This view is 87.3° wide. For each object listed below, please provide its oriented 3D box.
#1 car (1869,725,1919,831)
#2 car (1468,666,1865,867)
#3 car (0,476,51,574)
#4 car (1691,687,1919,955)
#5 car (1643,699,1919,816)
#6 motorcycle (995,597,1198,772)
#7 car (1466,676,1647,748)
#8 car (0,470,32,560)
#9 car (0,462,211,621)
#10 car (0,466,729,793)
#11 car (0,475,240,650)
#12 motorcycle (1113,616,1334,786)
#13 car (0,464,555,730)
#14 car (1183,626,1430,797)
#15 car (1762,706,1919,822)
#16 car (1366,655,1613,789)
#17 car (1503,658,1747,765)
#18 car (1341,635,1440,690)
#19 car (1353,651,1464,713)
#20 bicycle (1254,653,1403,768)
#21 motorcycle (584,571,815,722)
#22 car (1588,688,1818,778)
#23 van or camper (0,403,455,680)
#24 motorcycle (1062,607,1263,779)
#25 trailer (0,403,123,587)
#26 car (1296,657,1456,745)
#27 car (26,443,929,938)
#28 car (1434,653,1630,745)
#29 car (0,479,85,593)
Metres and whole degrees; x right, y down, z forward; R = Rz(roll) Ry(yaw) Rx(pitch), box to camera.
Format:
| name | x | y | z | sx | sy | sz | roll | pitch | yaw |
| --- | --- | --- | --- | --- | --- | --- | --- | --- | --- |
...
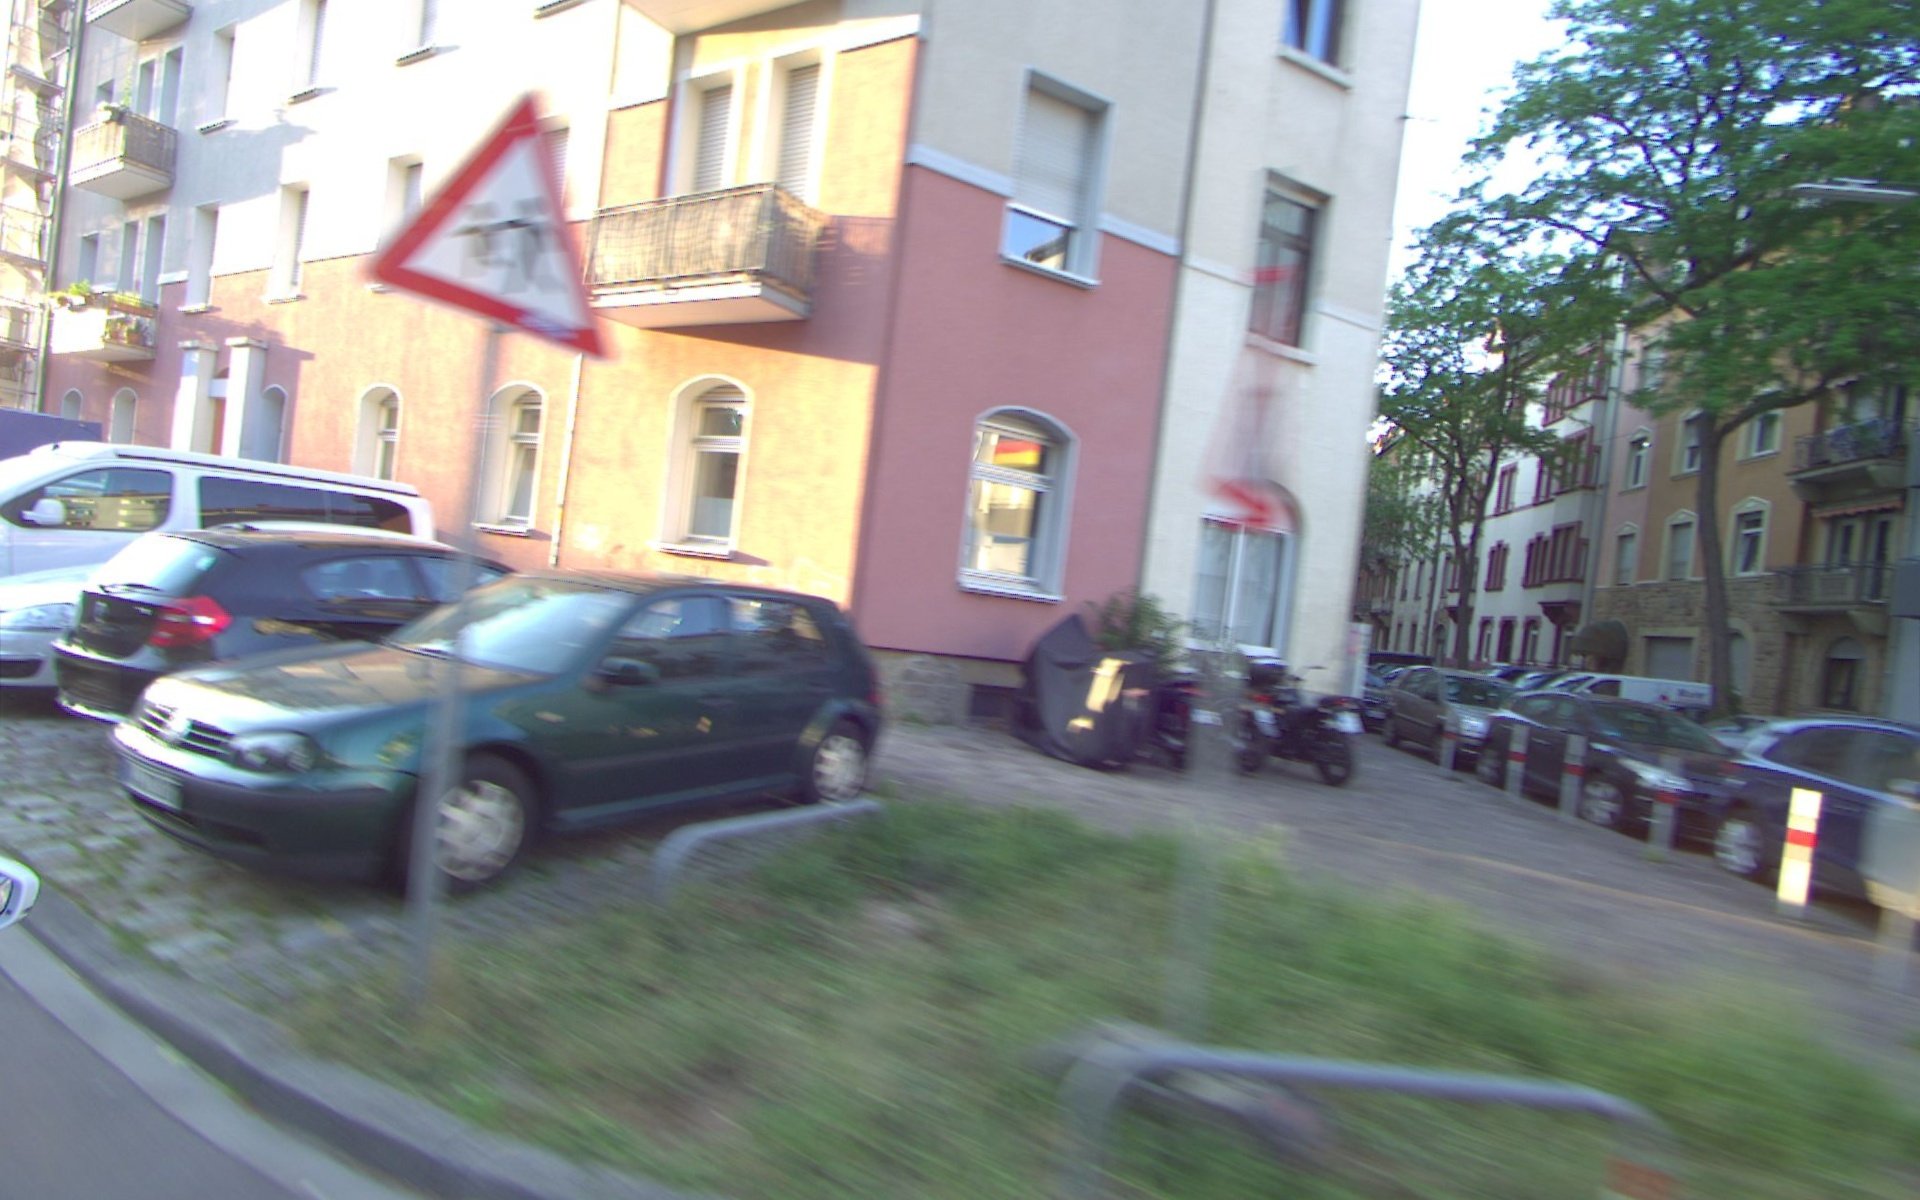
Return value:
| name | x | y | z | sx | sy | sz | roll | pitch | yaw |
| --- | --- | --- | --- | --- | --- | --- | --- | --- | --- |
| car | 16.787 | 3.033 | 15.255 | 3.924 | 1.549 | 2.001 | 7 | 0 | 5 |
| car | 7.904 | 1.754 | 11.841 | 1.933 | 1.524 | 4.001 | 7 | 0 | 5 |
| car | -17.646 | -1.482 | 16.243 | 1.758 | 1.591 | 3.971 | 7 | 0 | 29 |
| car | 7.300 | 1.641 | 7.028 | 1.795 | 1.592 | 4.002 | 7 | 0 | 10 |
| car | 16.536 | 3.103 | 20.300 | 3.924 | 1.549 | 2.001 | 7 | 0 | 6 |
| motorcycle | 1.301 | 0.784 | 10.288 | 0.828 | 1.452 | 2.340 | 7 | 0 | -23 |
| car | 17.674 | 3.303 | 29.974 | 4.028 | 1.415 | 2.001 | 7 | 0 | 4 |
| car | -19.448 | -1.803 | 18.042 | 1.716 | 1.630 | 3.698 | 7 | 0 | 30 |
| car | -12.056 | -0.817 | 12.392 | 1.967 | 1.749 | 3.993 | 6 | -1 | 31 |
| car | -3.858 | 0.225 | 7.189 | 1.966 | 1.548 | 3.993 | 7 | 0 | 31 |
| car | -10.255 | -0.486 | 10.428 | 1.966 | 1.660 | 3.993 | 7 | -1 | 31 |
| motorcycle | 2.761 | 1.013 | 11.010 | 0.735 | 1.452 | 2.638 | 7 | 0 | -23 |
| car | -5.772 | 0.023 | 8.345 | 1.966 | 1.638 | 3.993 | 7 | 0 | 31 |
| car | 3.783 | 1.165 | 11.361 | 0.835 | 1.474 | 2.761 | 7 | 0 | -24 |
| car | 16.917 | 3.011 | 17.599 | 3.924 | 1.604 | 2.001 | 7 | 0 | 5 |
| car | 8.487 | 1.884 | 16.614 | 1.936 | 1.524 | 4.001 | 7 | 0 | 3 |
| car | 17.802 | 2.953 | 27.140 | 4.897 | 2.038 | 2.190 | 7 | 0 | 2 |
| car | 20.720 | 3.025 | 48.576 | 3.924 | 2.037 | 2.003 | 8 | -1 | 14 |
| car | 19.527 | 3.568 | 43.996 | 3.924 | 2.037 | 2.003 | 8 | -1 | 14 |
| bicycle | 4.806 | 1.446 | 13.081 | 1.885 | 1.297 | 0.679 | 7 | 0 | -32 |
| motorcycle | -2.865 | 0.463 | 10.867 | 2.610 | 1.251 | 0.743 | 7 | 1 | 33 |
| car | 17.989 | 3.188 | 24.560 | 3.924 | 1.415 | 2.001 | 7 | 0 | 10 |
| van or camper | -7.702 | -0.474 | 9.405 | 2.007 | 2.122 | 4.840 | 7 | 0 | 32 |
| motorcycle | 2.027 | 0.898 | 10.554 | 0.735 | 1.452 | 2.340 | 7 | 0 | -23 |
| trailer | -13.774 | -1.524 | 13.364 | 1.908 | 2.368 | 3.569 | 7 | 2 | 30 |
| car | 9.058 | 2.148 | 22.314 | 2.055 | 1.370 | 4.002 | 7 | -1 | 5 |
| car | -2.088 | 0.378 | 5.591 | 1.823 | 1.604 | 4.109 | 7 | 0 | 29 |
| car | 18.301 | 3.129 | 32.379 | 4.883 | 2.167 | 2.000 | 7 | 0 | 4 |
| car | -15.877 | -1.175 | 14.839 | 1.871 | 1.658 | 3.994 | 7 | 0 | 29 |
